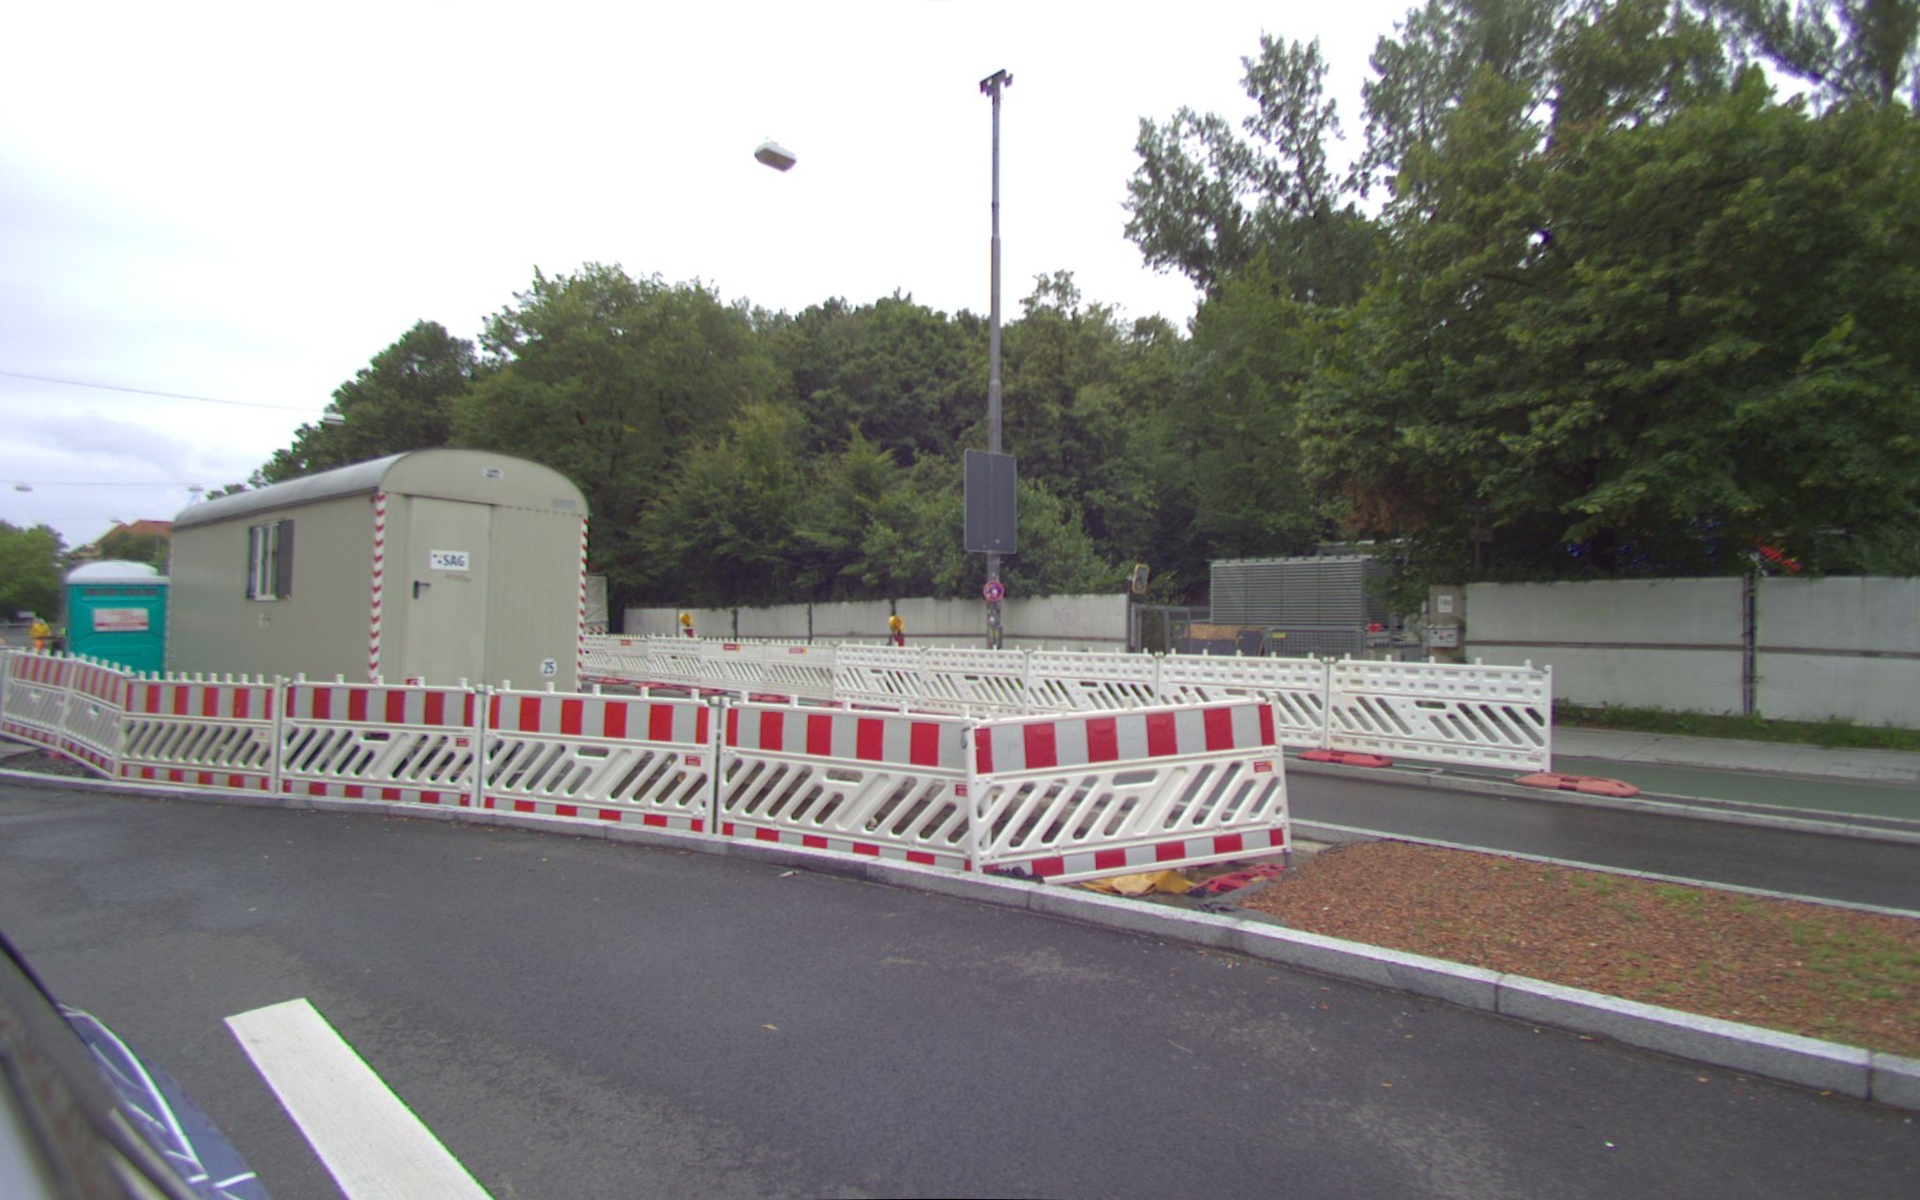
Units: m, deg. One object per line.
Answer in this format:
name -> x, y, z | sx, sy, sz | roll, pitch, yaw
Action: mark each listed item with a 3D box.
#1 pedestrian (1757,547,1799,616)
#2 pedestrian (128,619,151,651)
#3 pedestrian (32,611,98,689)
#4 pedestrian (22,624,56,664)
pedestrian -> 21.830, -0.484, 27.000 | 0.833, 1.788, 0.785 | -1, -2, 40
pedestrian -> -44.705, 1.902, 55.134 | 0.887, 1.701, 0.912 | 1, -2, -43
pedestrian -> -21.878, 1.211, 24.736 | 0.987, 1.816, 0.808 | 2, -2, 26
pedestrian -> -43.233, 2.053, 47.492 | 0.868, 1.850, 0.855 | -1, -2, 20
